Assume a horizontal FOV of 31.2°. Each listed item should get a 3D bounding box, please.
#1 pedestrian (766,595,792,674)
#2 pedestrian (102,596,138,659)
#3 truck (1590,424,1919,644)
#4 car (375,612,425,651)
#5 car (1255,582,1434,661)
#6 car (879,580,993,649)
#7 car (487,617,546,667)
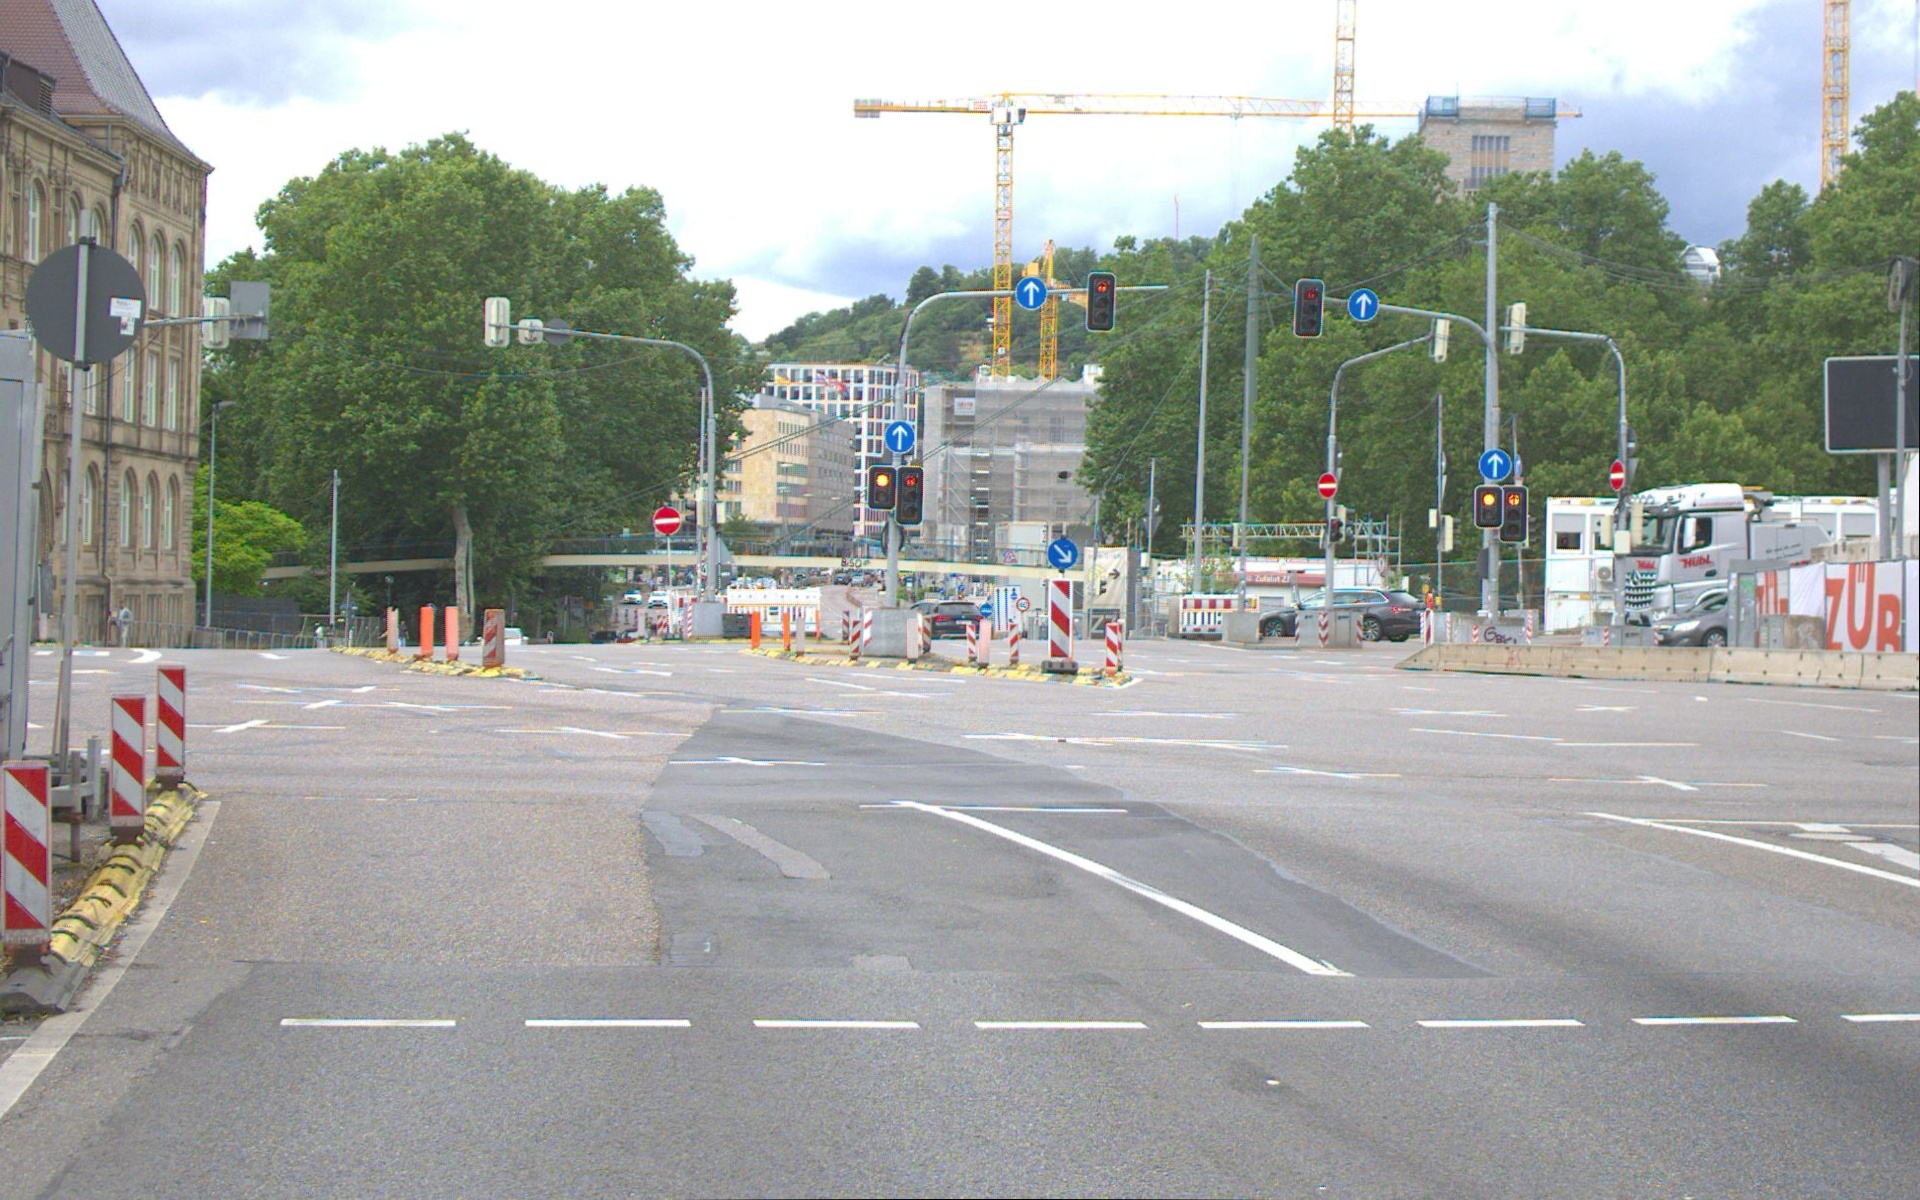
[{"bbox_3d":[-4.272,0.817,81.021,0.585,1.834,0.604,1,0,-4],"label":"pedestrian"},{"bbox_3d":[-26.964,0.869,110.354,0.950,2.007,0.766,1,0,2],"label":"pedestrian"},{"bbox_3d":[19.977,-1.499,80.985,9.712,4.943,3.114,1,0,-18],"label":"truck"},{"bbox_3d":[-27.761,1.533,170.570,1.993,1.831,4.001,1,1,-3],"label":"car"},{"bbox_3d":[10.233,0.551,91.487,4.270,2.007,1.997,1,1,29],"label":"car"},{"bbox_3d":[-0.756,0.432,105.197,1.993,2.007,4.001,1,1,-25],"label":"car"},{"bbox_3d":[-17.489,1.643,135.841,1.993,1.831,4.001,1,1,-3],"label":"car"}]
